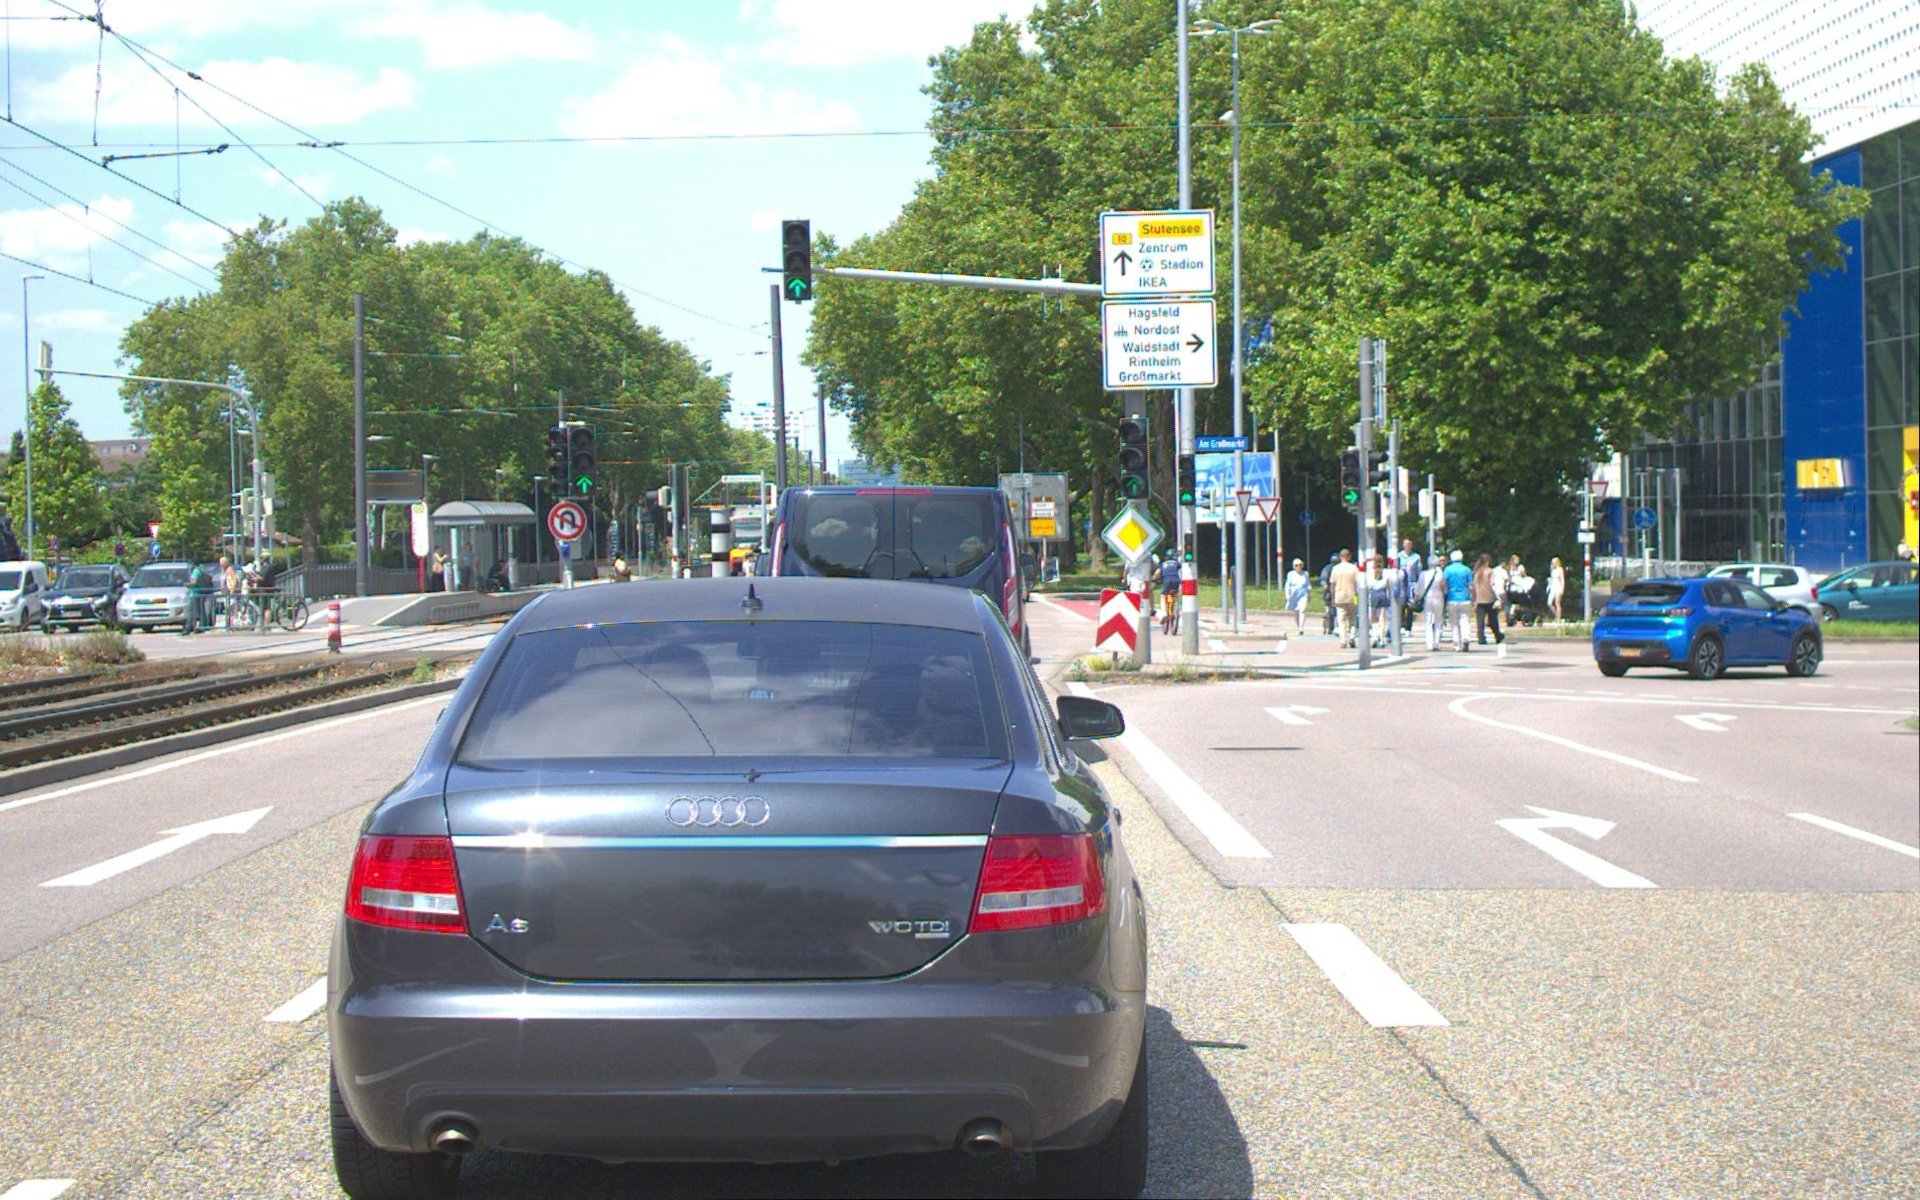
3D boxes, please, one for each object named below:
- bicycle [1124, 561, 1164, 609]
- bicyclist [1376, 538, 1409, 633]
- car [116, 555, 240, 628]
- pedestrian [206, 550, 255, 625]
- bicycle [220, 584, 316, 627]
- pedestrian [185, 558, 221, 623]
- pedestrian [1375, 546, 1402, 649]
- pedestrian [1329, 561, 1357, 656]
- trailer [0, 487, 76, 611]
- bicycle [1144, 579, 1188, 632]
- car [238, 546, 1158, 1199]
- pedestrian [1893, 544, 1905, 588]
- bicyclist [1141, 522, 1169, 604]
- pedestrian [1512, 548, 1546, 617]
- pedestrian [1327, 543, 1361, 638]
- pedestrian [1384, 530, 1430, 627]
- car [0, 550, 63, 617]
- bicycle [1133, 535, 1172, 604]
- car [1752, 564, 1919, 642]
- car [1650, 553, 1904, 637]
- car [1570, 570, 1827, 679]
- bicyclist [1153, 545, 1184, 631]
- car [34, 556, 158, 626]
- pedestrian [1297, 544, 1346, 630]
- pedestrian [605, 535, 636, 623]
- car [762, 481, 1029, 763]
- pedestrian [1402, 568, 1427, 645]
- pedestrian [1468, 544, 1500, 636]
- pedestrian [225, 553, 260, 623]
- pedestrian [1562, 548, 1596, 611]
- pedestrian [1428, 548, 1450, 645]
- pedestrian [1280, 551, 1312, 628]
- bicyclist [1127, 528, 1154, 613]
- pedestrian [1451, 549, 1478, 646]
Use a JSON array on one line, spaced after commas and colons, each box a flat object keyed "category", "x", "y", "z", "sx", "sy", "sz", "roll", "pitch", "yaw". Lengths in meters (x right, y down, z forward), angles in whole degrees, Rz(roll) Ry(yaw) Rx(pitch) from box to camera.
[{"category": "bicycle", "x": 3.873, "y": -0.325, "z": 72.456, "sx": 0.688, "sy": 0.990, "sz": 2.751, "roll": 0, "pitch": 1, "yaw": 0}, {"category": "bicyclist", "x": 8.076, "y": -0.276, "z": 64.234, "sx": 0.529, "sy": 1.758, "sz": 0.827, "roll": 0, "pitch": 0, "yaw": 13}, {"category": "car", "x": -18.872, "y": -0.225, "z": 83.106, "sx": 1.822, "sy": 1.664, "sz": 4.461, "roll": 1, "pitch": 1, "yaw": 2}, {"category": "pedestrian", "x": -16.756, "y": -0.286, "z": 78.973, "sx": 0.824, "sy": 1.714, "sz": 0.774, "roll": 1, "pitch": 1, "yaw": 22}, {"category": "bicycle", "x": -15.157, "y": 0.111, "z": 75.345, "sx": 2.055, "sy": 0.922, "sz": 0.753, "roll": 0, "pitch": 1, "yaw": -10}, {"category": "pedestrian", "x": -16.780, "y": -0.208, "z": 76.210, "sx": 0.685, "sy": 1.438, "sz": 0.573, "roll": 0, "pitch": 0, "yaw": -4}, {"category": "pedestrian", "x": 6.772, "y": -0.043, "z": 54.399, "sx": 0.381, "sy": 1.629, "sz": 0.377, "roll": 0, "pitch": 1, "yaw": 3}, {"category": "pedestrian", "x": 6.630, "y": 0.147, "z": 59.488, "sx": 0.445, "sy": 1.629, "sz": 0.430, "roll": 0, "pitch": 1, "yaw": 3}, {"category": "trailer", "x": -28.629, "y": -1.474, "z": 98.404, "sx": 2.767, "sy": 3.506, "sz": 15.879, "roll": 0, "pitch": 1, "yaw": -1}, {"category": "bicycle", "x": 4.014, "y": 0.098, "z": 67.293, "sx": 0.688, "sy": 1.002, "sz": 2.751, "roll": 0, "pitch": 1, "yaw": 0}, {"category": "car", "x": -0.523, "y": 0.601, "z": 8.734, "sx": 1.792, "sy": 1.450, "sz": 4.000, "roll": 0, "pitch": 1, "yaw": 0}, {"category": "pedestrian", "x": 28.533, "y": -1.029, "z": 104.429, "sx": 0.288, "sy": 1.338, "sz": 0.266, "roll": 0, "pitch": 0, "yaw": 0}, {"category": "bicyclist", "x": 4.284, "y": -0.812, "z": 75.575, "sx": 0.528, "sy": 1.783, "sz": 1.088, "roll": 0, "pitch": 0, "yaw": 0}, {"category": "pedestrian", "x": 13.597, "y": -0.414, "z": 82.164, "sx": 0.705, "sy": 1.629, "sz": 0.611, "roll": 1, "pitch": 1, "yaw": 19}, {"category": "pedestrian", "x": 6.645, "y": -0.162, "z": 59.503, "sx": 0.554, "sy": 1.629, "sz": 0.433, "roll": 0, "pitch": 1, "yaw": 3}, {"category": "pedestrian", "x": 8.542, "y": -0.419, "z": 65.710, "sx": 0.685, "sy": 1.840, "sz": 0.706, "roll": 1, "pitch": 1, "yaw": 25}, {"category": "car", "x": -24.990, "y": -0.443, "z": 89.930, "sx": 1.822, "sy": 1.664, "sz": 4.461, "roll": 1, "pitch": 1, "yaw": 1}, {"category": "bicycle", "x": 4.262, "y": -0.686, "z": 76.190, "sx": 0.688, "sy": 1.514, "sz": 2.751, "roll": 0, "pitch": 1, "yaw": 0}, {"category": "car", "x": 18.317, "y": 0.050, "z": 70.341, "sx": 3.789, "sy": 1.481, "sz": 2.000, "roll": 1, "pitch": 1, "yaw": 3}, {"category": "car", "x": 15.885, "y": -0.110, "z": 66.996, "sx": 4.498, "sy": 1.481, "sz": 2.000, "roll": 1, "pitch": 1, "yaw": 3}, {"category": "car", "x": 10.596, "y": 0.336, "z": 49.186, "sx": 1.842, "sy": 1.449, "sz": 3.990, "roll": 2, "pitch": 1, "yaw": 42}, {"category": "bicyclist", "x": 4.083, "y": -0.239, "z": 67.330, "sx": 0.528, "sy": 1.670, "sz": 1.088, "roll": 0, "pitch": 0, "yaw": 0}, {"category": "car", "x": -21.750, "y": -0.241, "z": 86.668, "sx": 1.822, "sy": 1.664, "sz": 4.461, "roll": 1, "pitch": 1, "yaw": 2}, {"category": "pedestrian", "x": 6.904, "y": -0.254, "z": 65.652, "sx": 0.714, "sy": 1.629, "sz": 0.706, "roll": 1, "pitch": 1, "yaw": 25}, {"category": "pedestrian", "x": -7.752, "y": -0.476, "z": 78.482, "sx": 0.685, "sy": 2.007, "sz": 0.573, "roll": 0, "pitch": 0, "yaw": -4}, {"category": "car", "x": -0.472, "y": 0.131, "z": 25.644, "sx": 1.836, "sy": 1.943, "sz": 4.000, "roll": 0, "pitch": 1, "yaw": -1}, {"category": "pedestrian", "x": 7.673, "y": 0.105, "z": 58.032, "sx": 0.372, "sy": 1.299, "sz": 0.365, "roll": 0, "pitch": 1, "yaw": 3}, {"category": "pedestrian", "x": 9.495, "y": -0.180, "z": 62.310, "sx": 0.521, "sy": 1.664, "sz": 0.494, "roll": 0, "pitch": 1, "yaw": 3}, {"category": "pedestrian", "x": -16.140, "y": -0.269, "z": 77.321, "sx": 0.685, "sy": 1.559, "sz": 0.573, "roll": 0, "pitch": 0, "yaw": -4}, {"category": "pedestrian", "x": 15.169, "y": -0.508, "z": 84.229, "sx": 0.705, "sy": 1.539, "sz": 0.677, "roll": 1, "pitch": 1, "yaw": 19}, {"category": "pedestrian", "x": 8.087, "y": -0.063, "z": 58.006, "sx": 0.320, "sy": 1.629, "sz": 0.377, "roll": 0, "pitch": 1, "yaw": 3}, {"category": "pedestrian", "x": 6.676, "y": -0.206, "z": 68.365, "sx": 0.494, "sy": 1.514, "sz": 0.706, "roll": 1, "pitch": 1, "yaw": 17}, {"category": "bicyclist", "x": 3.808, "y": -0.631, "z": 72.539, "sx": 0.528, "sy": 1.783, "sz": 1.088, "roll": 0, "pitch": 0, "yaw": 0}, {"category": "pedestrian", "x": 8.502, "y": -0.045, "z": 57.952, "sx": 0.398, "sy": 1.629, "sz": 0.371, "roll": 0, "pitch": 1, "yaw": 3}]
